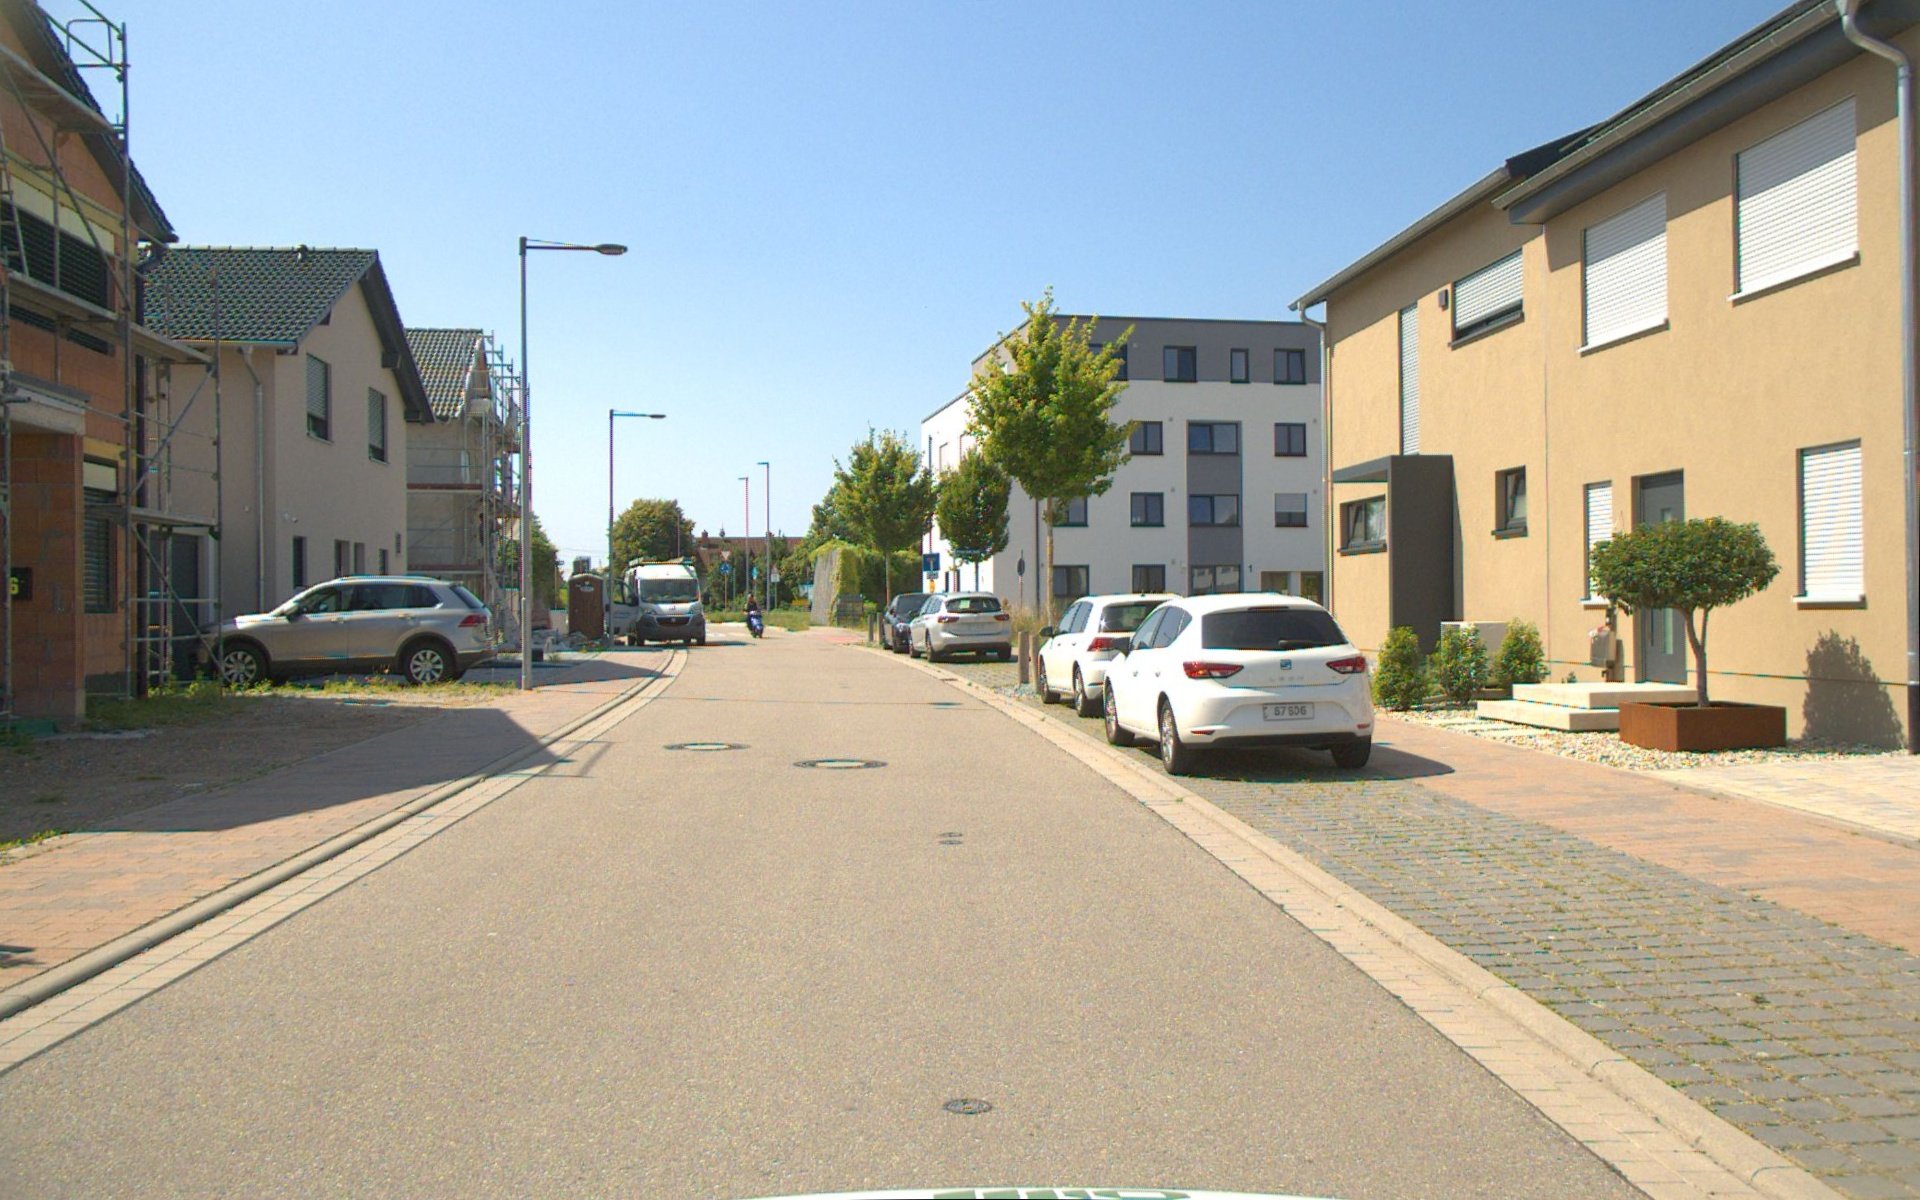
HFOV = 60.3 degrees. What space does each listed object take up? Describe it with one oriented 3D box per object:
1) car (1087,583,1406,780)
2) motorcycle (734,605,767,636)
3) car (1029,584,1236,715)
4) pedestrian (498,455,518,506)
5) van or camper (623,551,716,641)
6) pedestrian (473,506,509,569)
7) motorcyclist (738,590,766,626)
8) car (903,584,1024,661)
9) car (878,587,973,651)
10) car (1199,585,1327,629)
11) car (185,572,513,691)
[{"bbox_3d":[2.444,0.633,15.328,1.779,1.481,4.559,-2,0,-5],"label":"car"},{"bbox_3d":[-7.583,0.730,59.725,0.939,1.053,2.428,-1,1,-13],"label":"motorcycle"},{"bbox_3d":[2.126,0.560,21.678,1.745,1.450,4.508,-2,1,-6],"label":"car"},{"bbox_3d":[-13.954,-3.684,51.066,0.552,1.526,0.746,-1,-2,-12],"label":"pedestrian"},{"bbox_3d":[-9.089,-0.092,51.335,2.235,2.598,6.340,-1,-1,-15],"label":"van or camper"},{"bbox_3d":[-13.095,-1.735,46.188,0.567,1.709,0.745,-3,-3,38],"label":"pedestrian"},{"bbox_3d":[-7.460,0.281,59.345,0.908,1.244,0.801,-1,1,-13],"label":"motorcyclist"},{"bbox_3d":[-0.013,0.451,37.502,1.883,1.537,5.283,-2,1,-9],"label":"car"},{"bbox_3d":[-0.975,0.442,43.482,1.882,1.495,5.131,-2,1,-8],"label":"car"},{"bbox_3d":[10.711,0.266,58.596,4.084,1.461,1.877,-1,-1,-12],"label":"car"},{"bbox_3d":[-9.195,0.442,25.248,4.343,1.640,1.996,-1,0,-10],"label":"car"}]
